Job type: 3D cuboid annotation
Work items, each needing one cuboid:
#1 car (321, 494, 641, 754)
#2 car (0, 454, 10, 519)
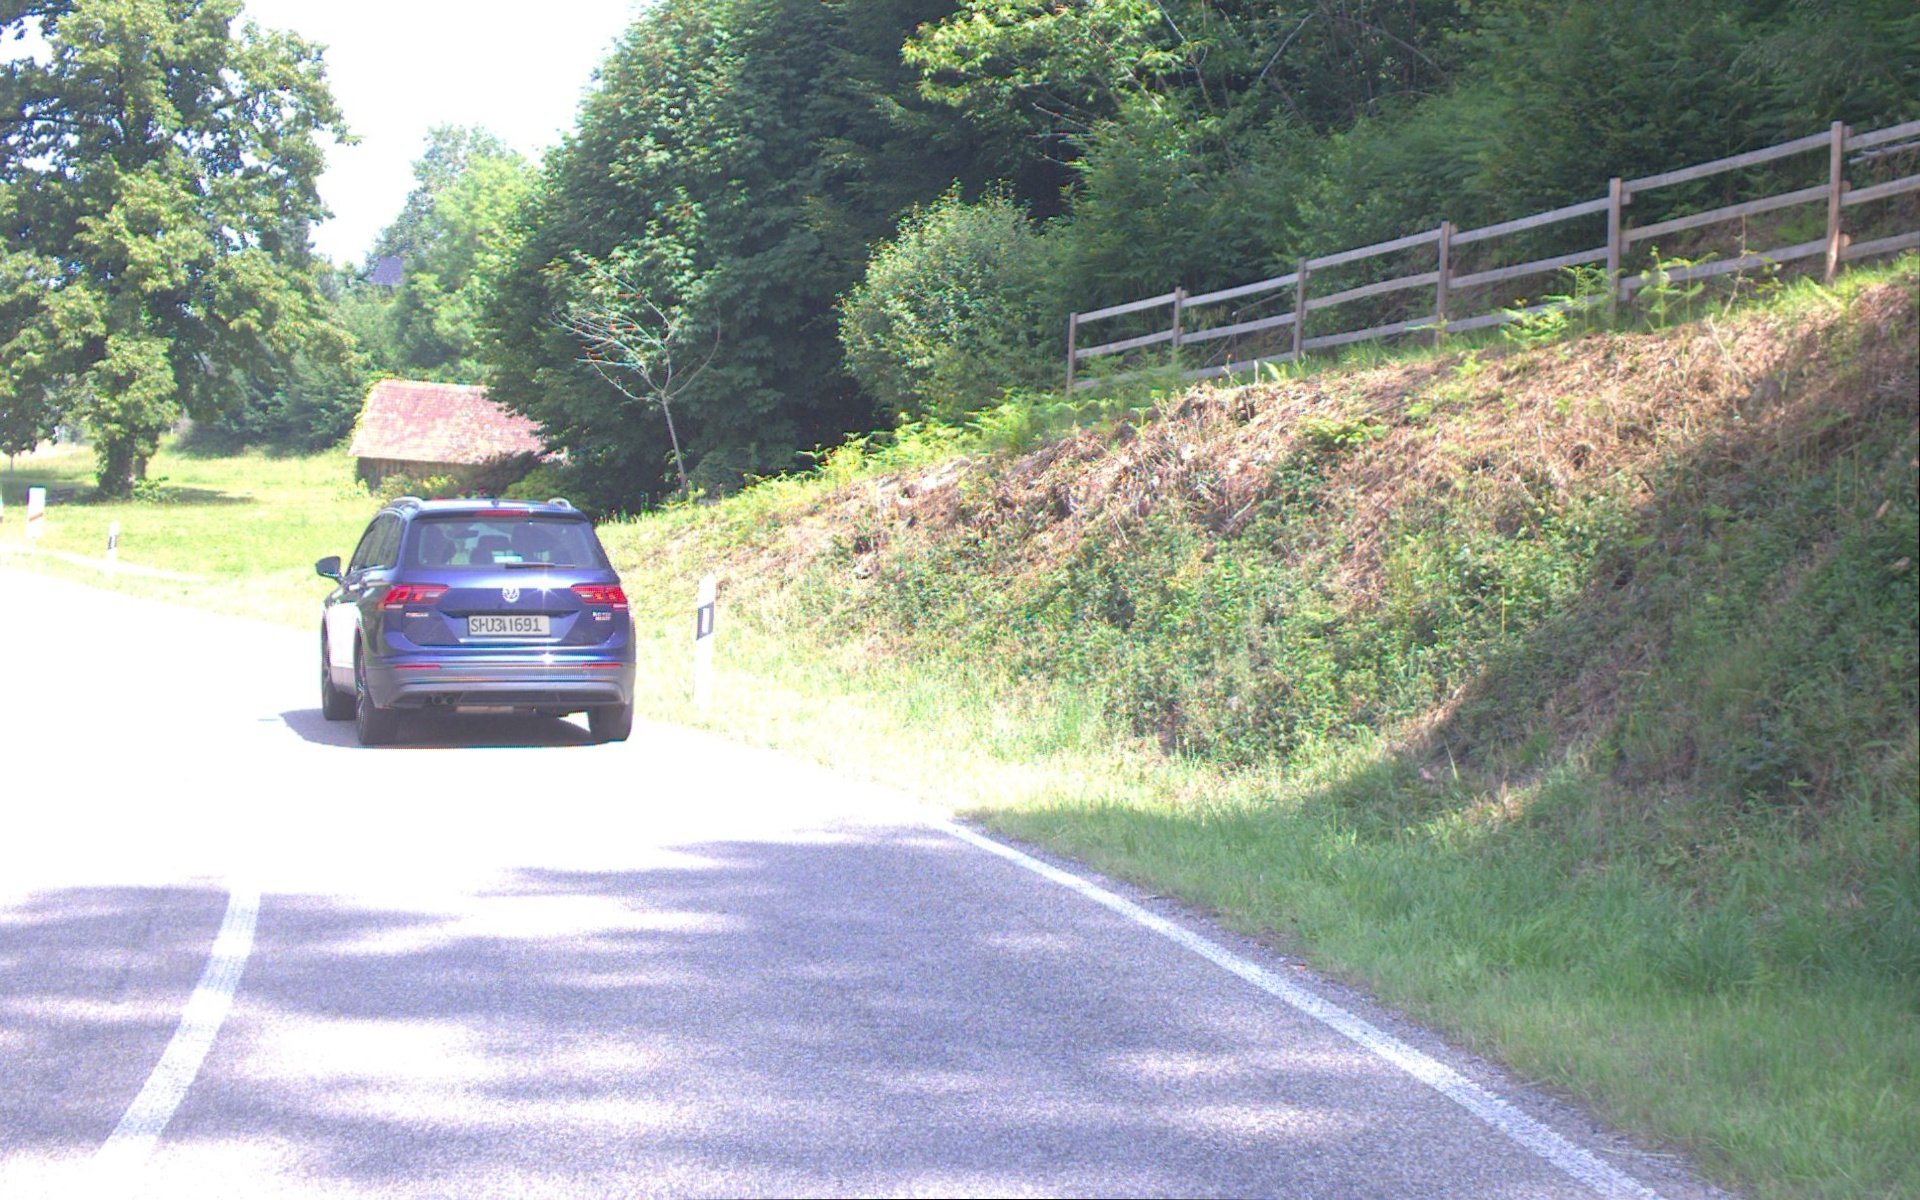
[{"bbox_3d":[-3.432,0.086,24.014,1.852,1.643,4.141,0,2,-13],"label":"car"},{"bbox_3d":[-29.219,-3.307,100.112,1.999,1.842,4.870,-4,5,-26],"label":"car"}]
